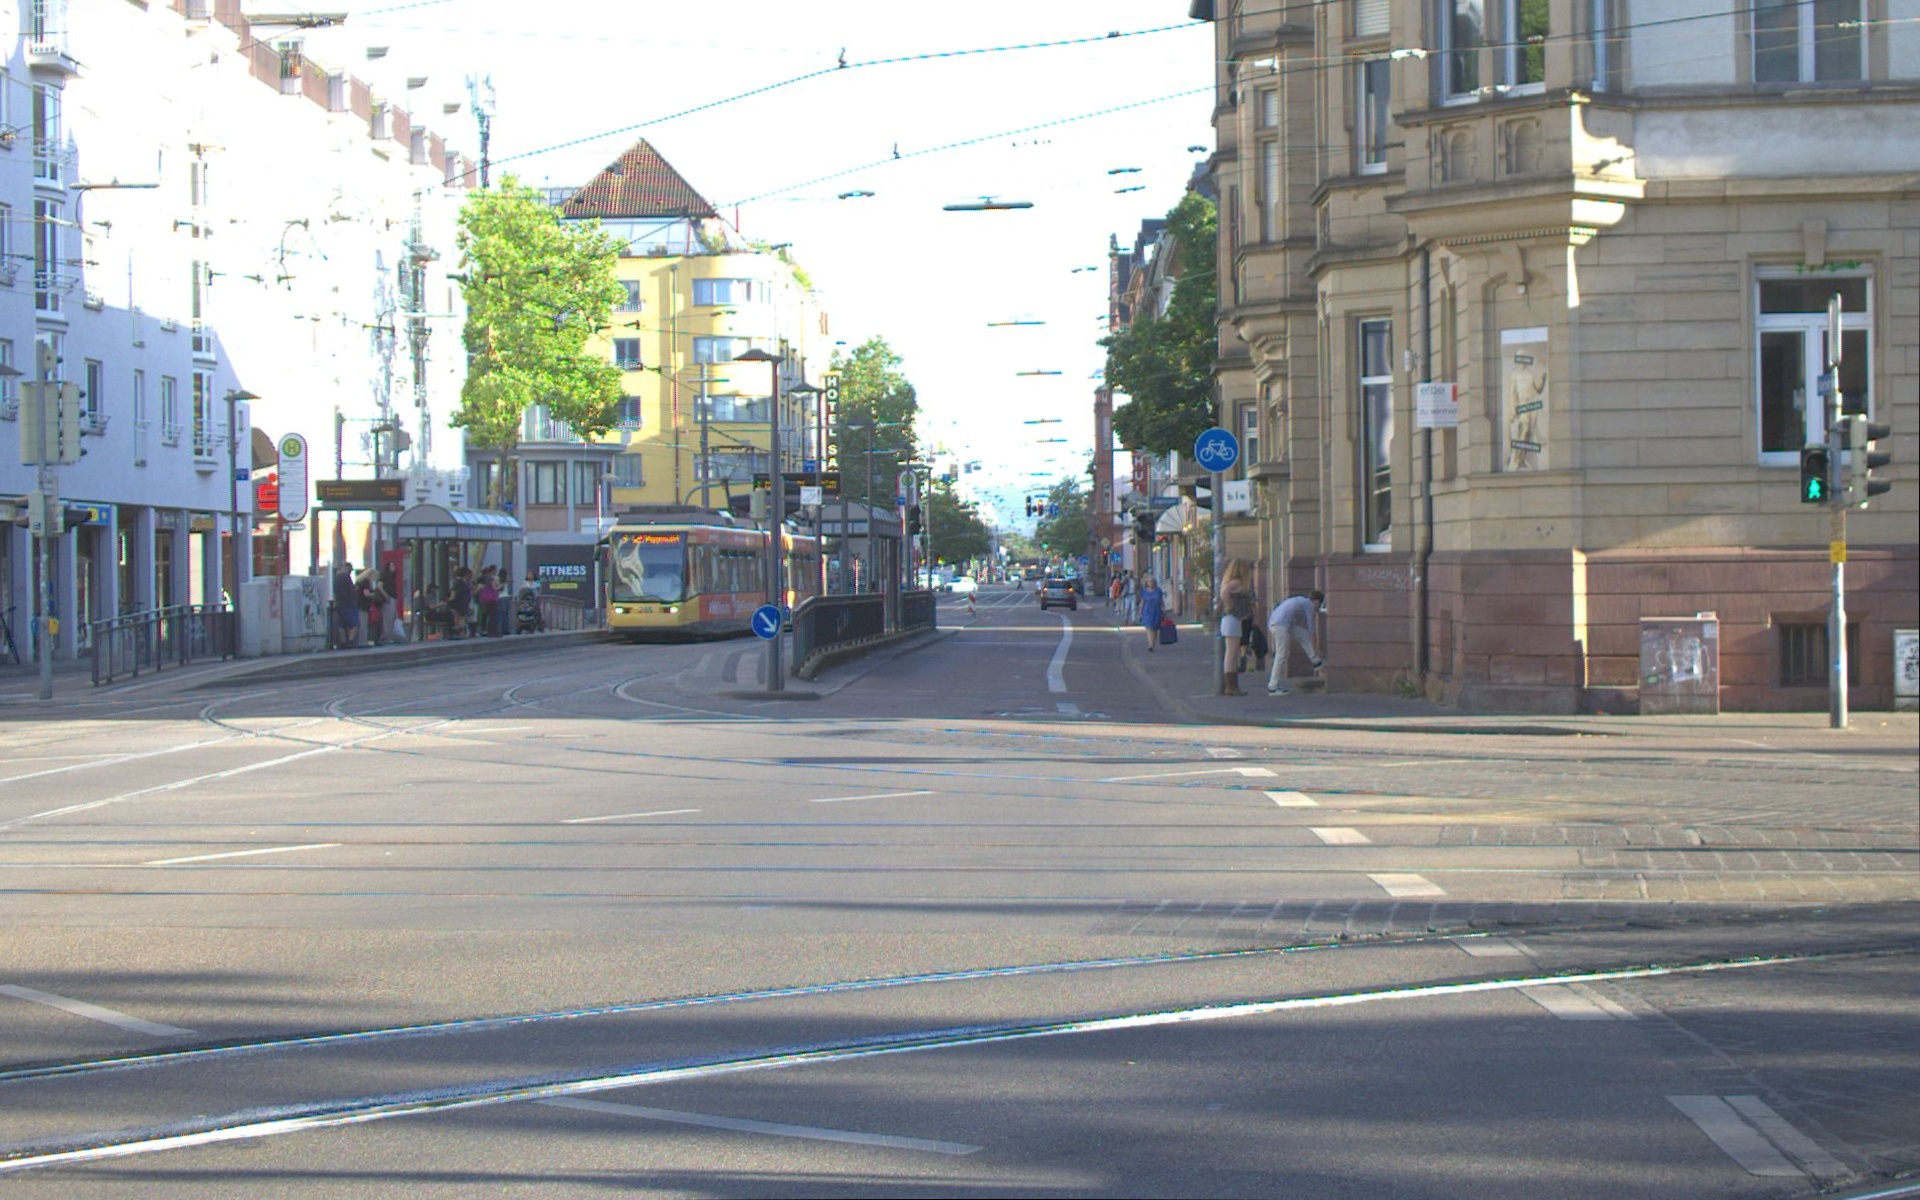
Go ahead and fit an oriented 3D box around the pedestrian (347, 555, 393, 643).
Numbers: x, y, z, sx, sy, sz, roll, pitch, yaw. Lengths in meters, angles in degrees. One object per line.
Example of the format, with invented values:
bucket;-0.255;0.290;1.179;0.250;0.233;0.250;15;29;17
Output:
pedestrian;-11.596;-0.016;67.556;0.765;1.727;0.519;0;0;43

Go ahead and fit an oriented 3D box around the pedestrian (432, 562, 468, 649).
pedestrian;-11.197;0.127;75.516;0.695;1.898;0.672;0;0;-1

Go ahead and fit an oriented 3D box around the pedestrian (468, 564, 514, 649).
pedestrian;-10.586;0.139;77.620;0.932;1.898;0.881;0;0;-1

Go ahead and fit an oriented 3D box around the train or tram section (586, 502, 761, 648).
train or tram section;-7.471;-0.649;91.834;2.885;3.478;14.166;-2;0;2

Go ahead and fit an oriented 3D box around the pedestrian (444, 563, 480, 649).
pedestrian;-11.017;0.131;76.070;0.695;1.898;0.672;0;0;-1

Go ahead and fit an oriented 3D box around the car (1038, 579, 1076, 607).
car;5.076;-0.369;179.736;1.993;1.444;4.000;0;1;2

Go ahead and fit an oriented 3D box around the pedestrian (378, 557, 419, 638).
pedestrian;-11.663;-0.056;71.430;0.695;1.685;0.672;0;0;-22

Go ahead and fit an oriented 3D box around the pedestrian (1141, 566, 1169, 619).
pedestrian;6.004;-0.237;106.097;0.713;1.597;0.773;-3;1;-1

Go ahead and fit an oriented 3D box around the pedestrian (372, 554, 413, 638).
pedestrian;-11.499;-0.083;69.650;0.695;1.685;0.672;0;0;-22

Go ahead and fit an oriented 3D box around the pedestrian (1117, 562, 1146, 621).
pedestrian;5.274;-0.265;105.806;0.713;1.768;0.773;-3;1;-1

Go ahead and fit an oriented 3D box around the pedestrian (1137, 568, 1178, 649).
pedestrian;4.095;0.176;71.310;0.762;1.640;0.832;-2;1;1

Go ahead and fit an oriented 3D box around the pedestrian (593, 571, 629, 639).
pedestrian;-9.837;0.147;96.803;0.878;1.898;0.935;0;0;-14

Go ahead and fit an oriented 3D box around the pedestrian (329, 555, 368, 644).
pedestrian;-11.640;-0.016;65.444;0.599;1.686;0.613;0;0;2

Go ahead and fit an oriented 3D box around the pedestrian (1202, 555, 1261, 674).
pedestrian;4.230;0.219;53.600;0.801;1.817;0.797;-2;1;1

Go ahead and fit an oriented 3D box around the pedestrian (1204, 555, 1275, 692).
pedestrian;3.591;0.305;44.166;0.794;1.715;0.719;-2;-1;0

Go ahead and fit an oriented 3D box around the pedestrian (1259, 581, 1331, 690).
pedestrian;4.221;0.448;43.389;0.794;1.327;0.719;-2;-1;0

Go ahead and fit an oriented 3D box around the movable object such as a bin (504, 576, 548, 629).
movable object such as a bin;-10.574;0.053;83.774;0.937;1.282;0.935;0;0;0
